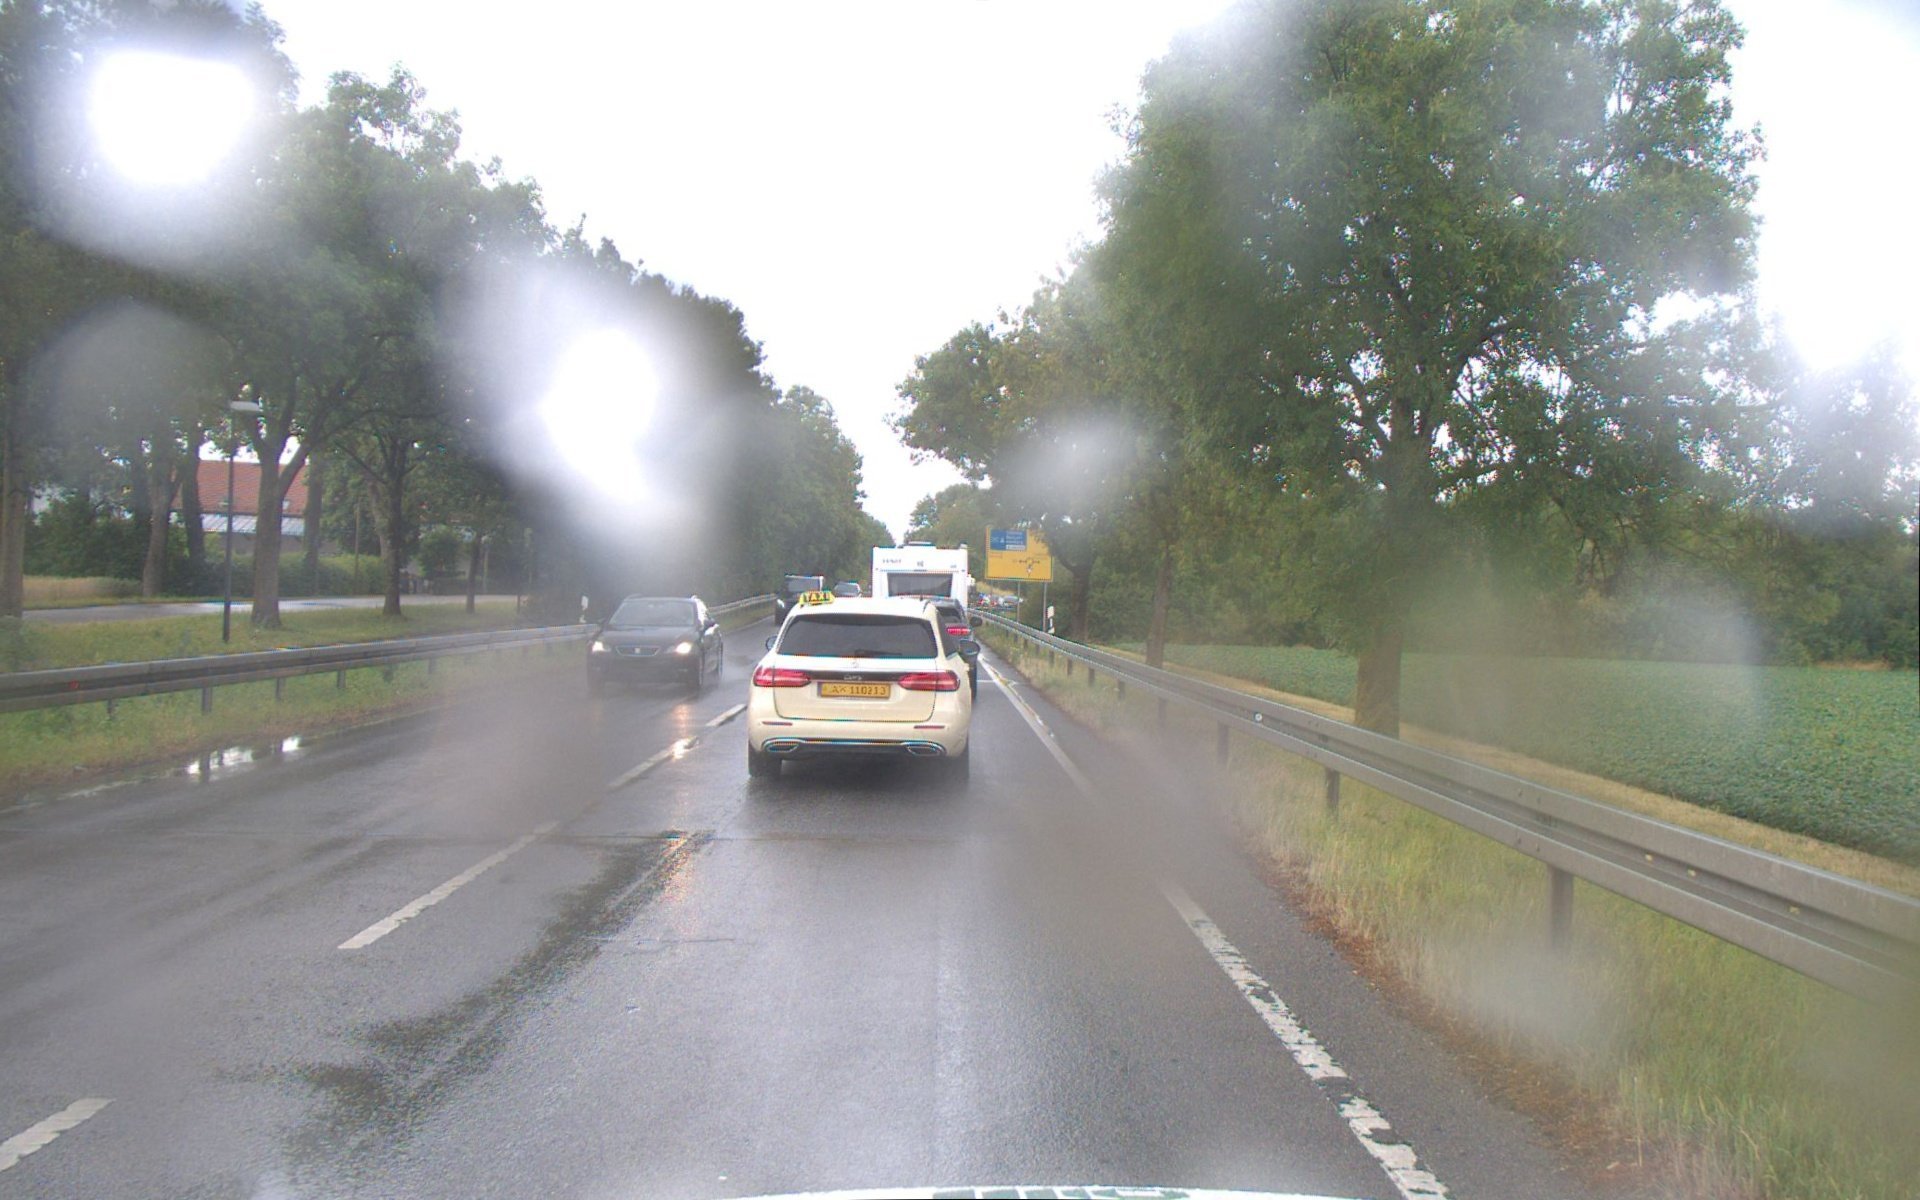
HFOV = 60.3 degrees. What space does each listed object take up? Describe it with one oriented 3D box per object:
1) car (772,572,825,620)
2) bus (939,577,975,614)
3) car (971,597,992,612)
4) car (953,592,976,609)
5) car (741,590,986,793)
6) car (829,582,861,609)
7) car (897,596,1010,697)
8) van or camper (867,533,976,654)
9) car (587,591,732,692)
[{"bbox_3d":[-6.465,-0.154,66.511,1.791,1.834,4.413,0,0,-2],"label":"car"},{"bbox_3d":[-0.185,-0.242,92.911,1.953,2.049,3.999,0,0,-2],"label":"bus"},{"bbox_3d":[1.598,0.361,125.994,1.520,1.138,4.000,1,0,0],"label":"car"},{"bbox_3d":[0.302,0.059,116.540,1.520,1.138,3.999,1,0,-2],"label":"car"},{"bbox_3d":[-0.722,0.681,14.422,1.826,1.502,4.000,1,0,0],"label":"car"},{"bbox_3d":[-6.516,-0.274,93.767,1.595,1.463,3.959,1,0,-2],"label":"car"},{"bbox_3d":[-0.092,0.667,26.152,1.630,1.456,4.000,1,0,0],"label":"car"},{"bbox_3d":[-0.887,-0.161,40.969,2.438,2.732,5.700,1,0,0],"label":"van or camper"},{"bbox_3d":[-4.767,0.613,26.715,1.679,1.476,4.110,1,0,-2],"label":"car"}]
